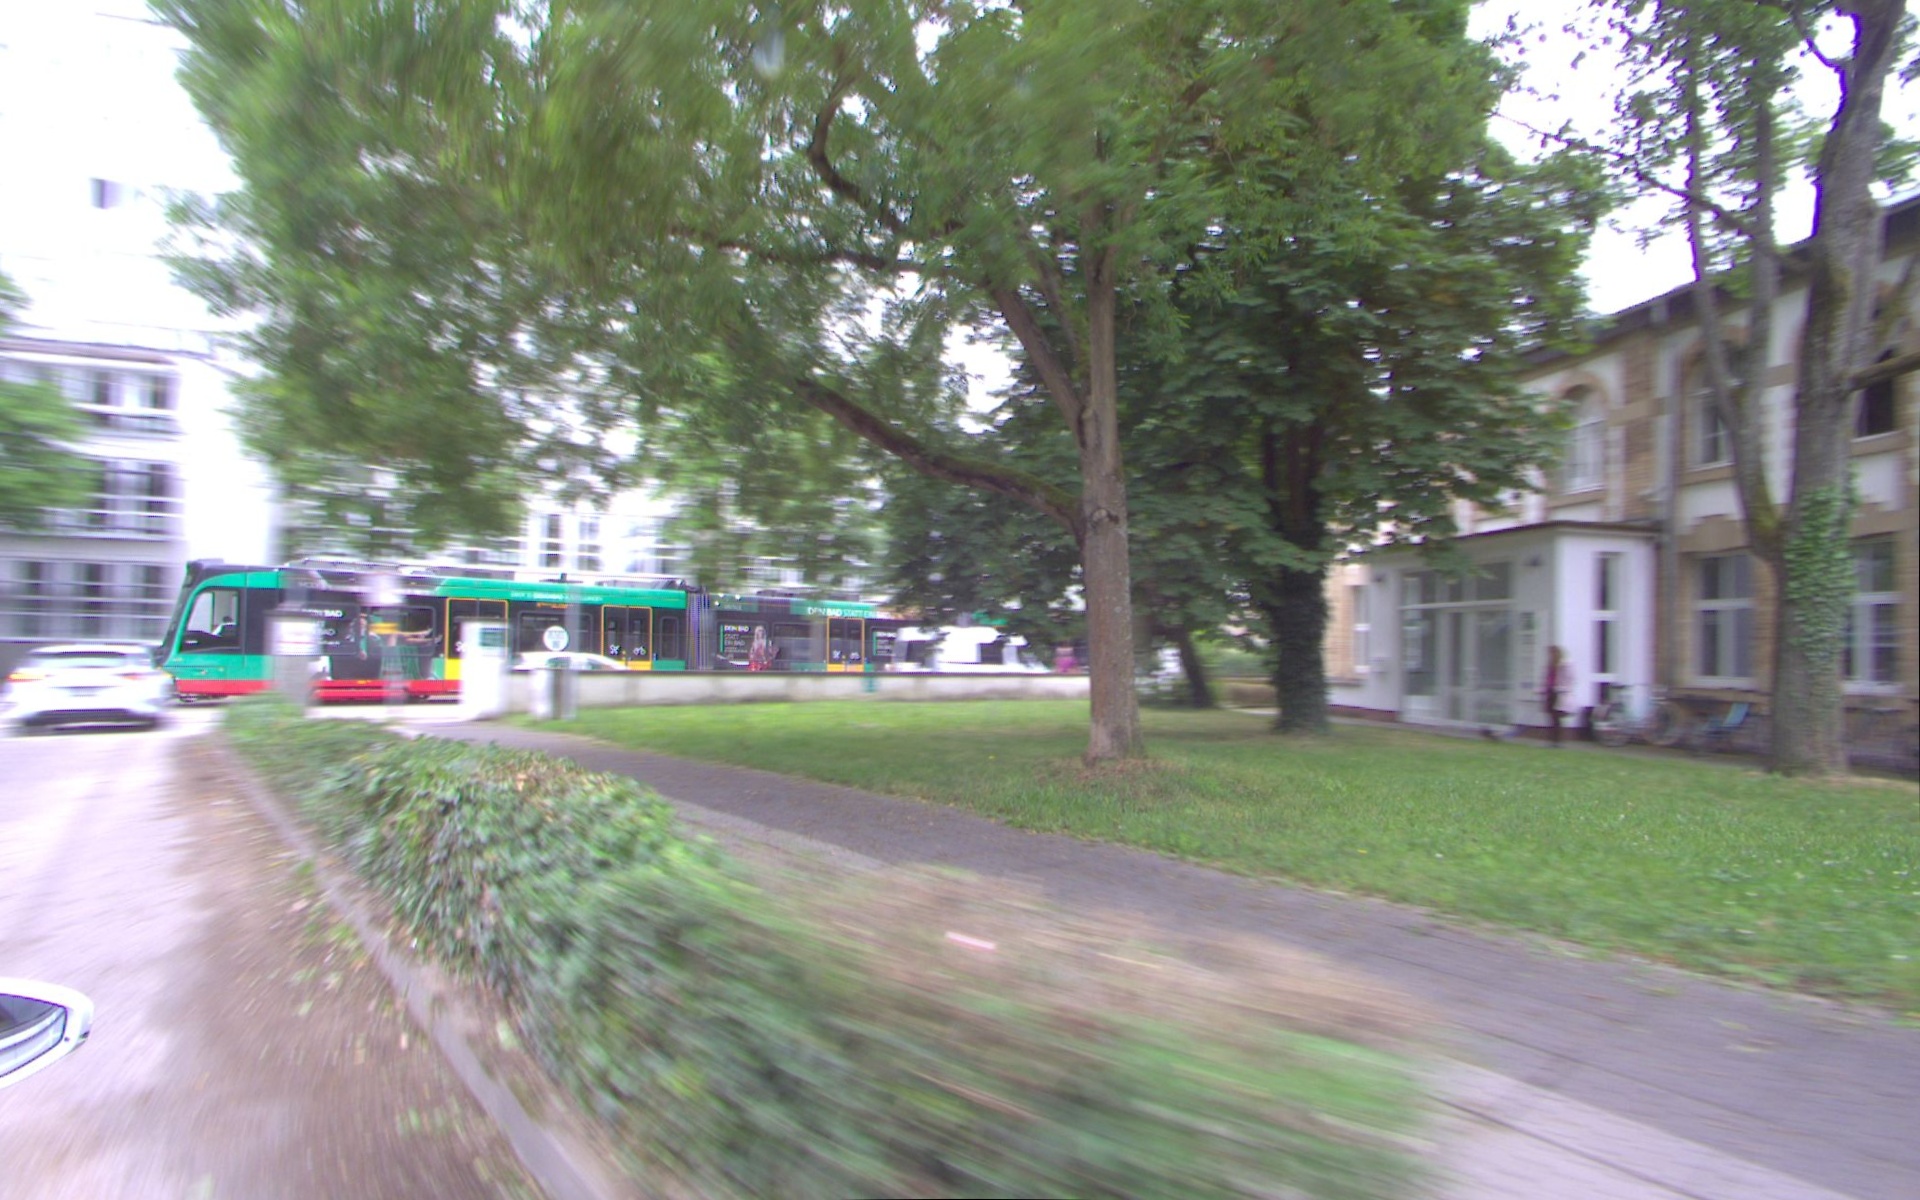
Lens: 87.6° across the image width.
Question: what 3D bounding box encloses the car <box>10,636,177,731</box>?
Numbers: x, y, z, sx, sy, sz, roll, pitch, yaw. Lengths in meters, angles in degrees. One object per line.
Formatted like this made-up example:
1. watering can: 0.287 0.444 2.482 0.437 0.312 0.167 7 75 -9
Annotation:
1. car: -14.914 1.455 17.442 1.759 1.449 3.955 2 -5 -35

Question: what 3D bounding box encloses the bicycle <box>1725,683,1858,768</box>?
1. bicycle: 11.867 1.776 14.295 1.712 1.129 0.460 0 -2 -11

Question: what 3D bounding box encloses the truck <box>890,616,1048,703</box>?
1. truck: 0.355 1.915 32.278 4.877 2.577 2.151 3 -3 -41

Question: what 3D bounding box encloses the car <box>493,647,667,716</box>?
1. car: -9.111 1.943 24.150 3.556 1.519 1.652 4 -4 -40

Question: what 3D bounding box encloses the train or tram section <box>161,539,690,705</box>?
1. train or tram section: -13.678 0.799 27.138 12.329 3.659 2.645 3 -3 -41

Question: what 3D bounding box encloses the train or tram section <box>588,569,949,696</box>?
1. train or tram section: -5.929 1.243 33.941 12.329 3.659 2.645 3 -3 -41

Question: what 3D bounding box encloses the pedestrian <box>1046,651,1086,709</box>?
1. pedestrian: 3.221 2.425 30.470 0.800 1.739 0.948 -1 -3 43

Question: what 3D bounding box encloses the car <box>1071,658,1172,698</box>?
1. car: 6.022 2.862 37.100 3.776 1.371 1.795 4 -4 -44

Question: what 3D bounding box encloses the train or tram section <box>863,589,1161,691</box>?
1. train or tram section: 2.731 1.792 41.503 14.618 3.659 2.645 3 -3 -41

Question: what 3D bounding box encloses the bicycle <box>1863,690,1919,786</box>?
1. bicycle: 12.235 1.698 12.507 1.712 1.129 0.460 0 -2 -11

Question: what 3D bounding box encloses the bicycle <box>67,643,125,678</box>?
1. bicycle: -29.422 2.041 34.145 0.635 1.089 2.307 2 -1 -18

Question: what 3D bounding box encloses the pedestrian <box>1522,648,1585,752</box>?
1. pedestrian: 9.442 1.572 15.935 0.593 1.607 0.627 2 -2 -13

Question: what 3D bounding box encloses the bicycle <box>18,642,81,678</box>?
1. bicycle: -30.653 2.007 33.755 0.635 1.089 2.307 2 -1 -18

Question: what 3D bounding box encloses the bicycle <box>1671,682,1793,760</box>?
1. bicycle: 11.690 1.830 15.169 1.712 1.128 0.460 2 -2 -11

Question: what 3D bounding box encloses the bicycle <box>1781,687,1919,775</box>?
1. bicycle: 11.997 1.764 13.496 1.712 1.128 0.460 2 -2 -11

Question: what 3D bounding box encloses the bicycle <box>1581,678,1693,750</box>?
1. bicycle: 11.145 1.872 16.482 1.712 1.128 0.460 2 -2 -11
